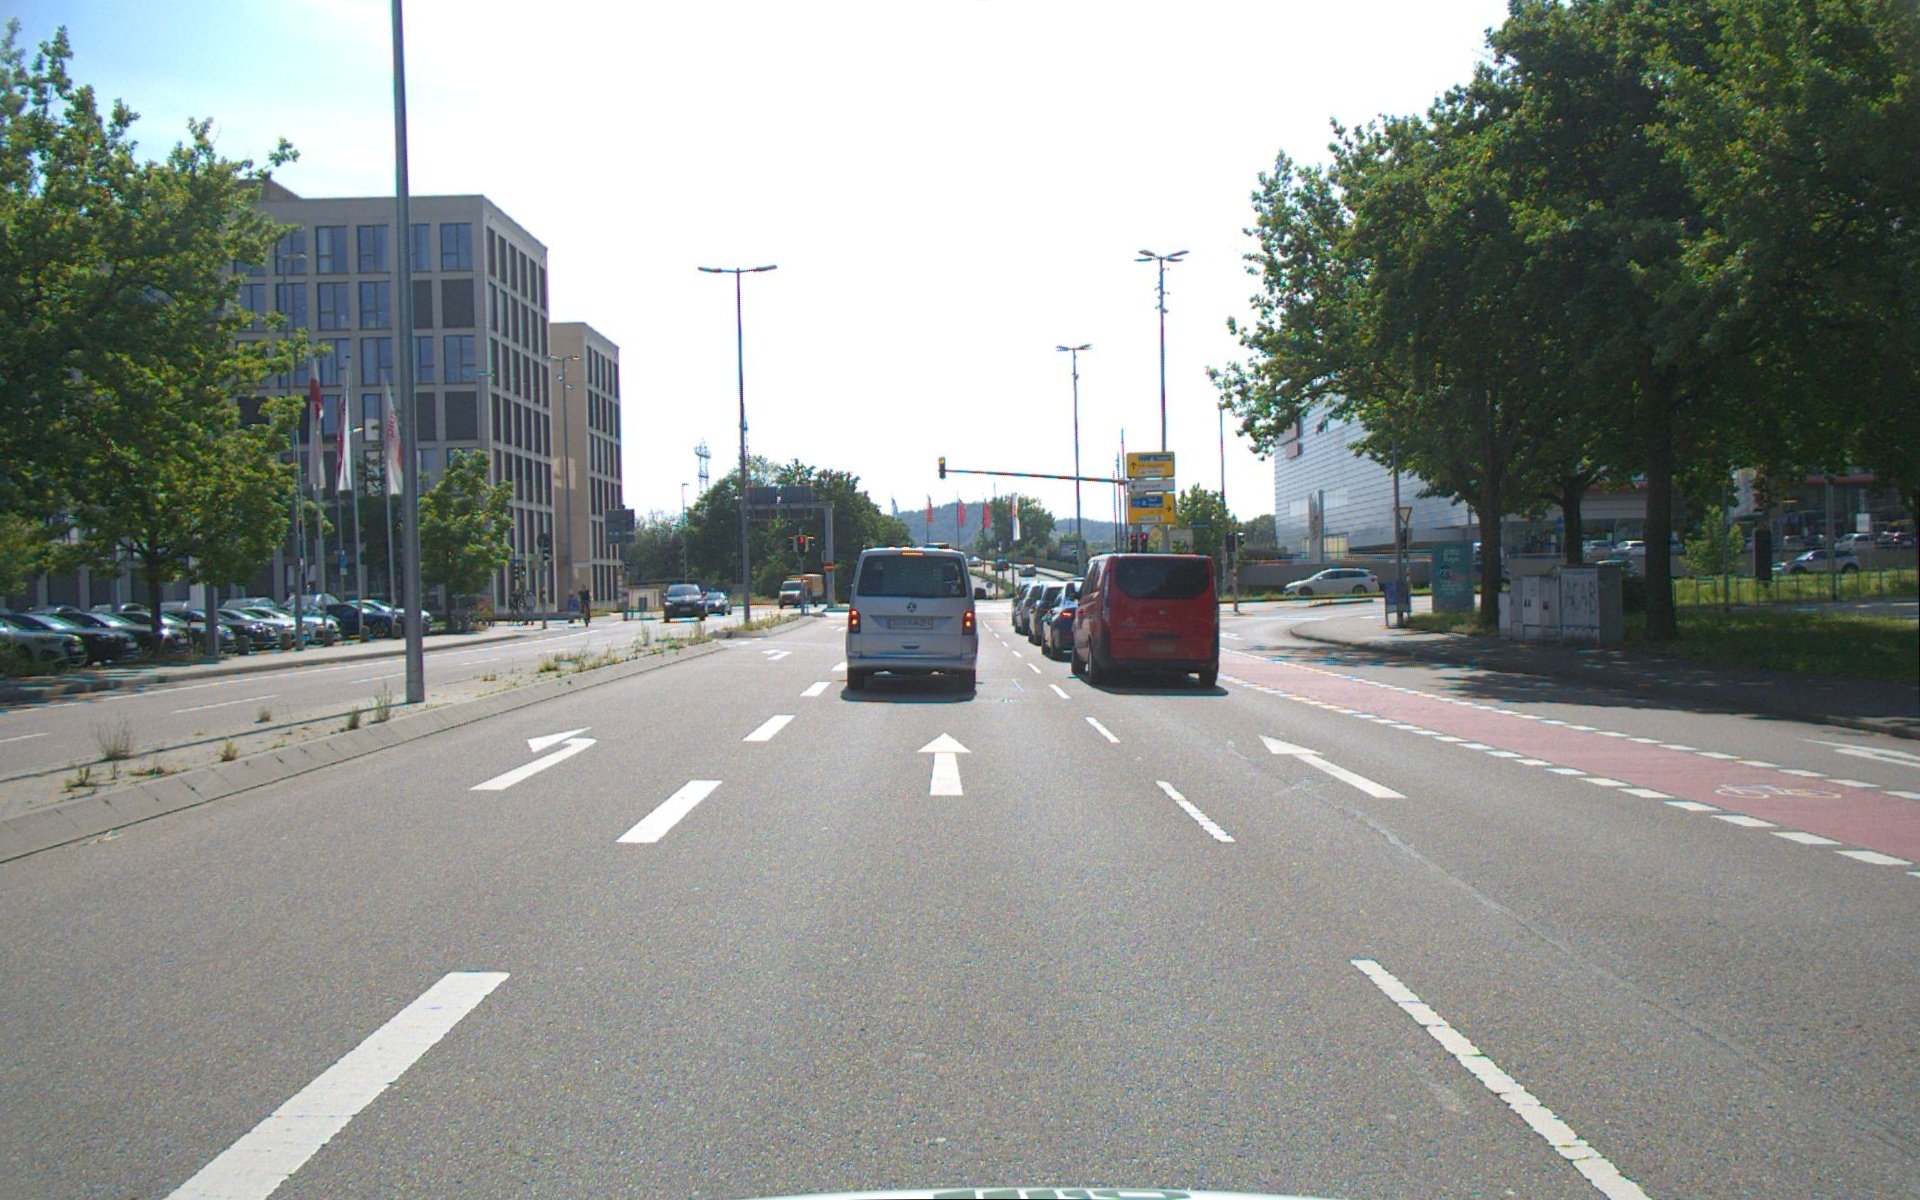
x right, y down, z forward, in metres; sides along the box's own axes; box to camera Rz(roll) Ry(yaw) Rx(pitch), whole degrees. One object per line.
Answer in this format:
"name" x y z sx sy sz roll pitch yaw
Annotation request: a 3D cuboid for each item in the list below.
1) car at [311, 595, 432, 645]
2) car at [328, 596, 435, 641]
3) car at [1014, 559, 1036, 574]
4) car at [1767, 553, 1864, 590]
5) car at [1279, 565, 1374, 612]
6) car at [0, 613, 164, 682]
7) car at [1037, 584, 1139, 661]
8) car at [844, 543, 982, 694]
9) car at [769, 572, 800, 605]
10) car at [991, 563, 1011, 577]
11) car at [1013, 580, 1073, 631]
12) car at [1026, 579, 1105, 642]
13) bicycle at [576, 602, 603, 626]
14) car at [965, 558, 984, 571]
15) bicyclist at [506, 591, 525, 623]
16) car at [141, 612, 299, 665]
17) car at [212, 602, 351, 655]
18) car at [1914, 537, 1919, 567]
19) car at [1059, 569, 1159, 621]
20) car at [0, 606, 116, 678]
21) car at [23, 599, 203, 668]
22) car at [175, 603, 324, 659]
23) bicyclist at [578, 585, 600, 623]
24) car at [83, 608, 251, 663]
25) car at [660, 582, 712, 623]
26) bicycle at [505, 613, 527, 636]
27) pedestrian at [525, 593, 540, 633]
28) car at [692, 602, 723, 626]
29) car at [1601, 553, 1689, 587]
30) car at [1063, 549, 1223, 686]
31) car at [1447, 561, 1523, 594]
"car" -22.280 0.751 62.729 3.795 1.490 1.868 -5 1 1
"car" -22.560 0.706 64.570 3.521 1.381 1.640 -5 1 0
"car" 9.007 -4.588 229.626 1.961 2.049 3.983 0 1 -16
"car" 43.079 -1.441 83.347 4.046 1.545 1.482 -4 0 4
"car" 18.178 -0.583 82.159 4.310 2.029 1.482 -4 0 4
"car" -22.322 1.205 41.030 4.081 1.354 2.038 -5 1 2
"car" 2.595 0.423 34.451 1.711 1.484 4.475 0 1 -1
"car" -0.663 0.227 24.259 1.846 2.025 3.999 0 1 -1
"car" -14.516 -0.939 137.011 2.358 2.605 6.888 -2 1 -5
"car" 6.056 -4.472 245.606 1.961 2.049 3.983 0 1 -16
"car" 2.485 0.136 50.039 1.546 1.483 3.785 0 1 -1
"car" 2.694 0.232 42.921 1.711 1.543 4.077 0 1 -1
"bicycle" -15.808 0.607 70.515 0.666 0.957 1.973 -2 1 0
"car" 2.266 -5.503 257.916 1.961 2.049 3.983 0 1 -16
"bicyclist" -21.409 0.351 79.627 0.617 1.527 1.028 0 0 -1
"car" -22.193 1.142 49.672 3.794 1.186 1.912 -5 1 2
"car" -22.497 0.933 54.918 3.794 1.388 1.749 -5 1 2
"car" 50.691 -2.578 83.809 3.694 1.545 1.482 -4 0 4
"car" 6.721 -0.241 74.859 4.311 2.029 1.481 -4 0 1
"car" -22.020 1.058 38.358 3.794 1.444 1.912 -5 1 2
"car" -22.320 0.872 43.683 3.794 1.444 1.660 -5 1 2
"car" -22.390 0.965 52.197 3.794 1.356 1.849 -5 1 2
"bicyclist" -15.801 0.169 70.441 0.606 1.553 1.036 -2 0 0
"car" -22.382 0.989 46.767 3.794 1.172 1.796 -5 1 2
"car" -12.125 0.090 73.372 1.704 1.646 4.207 -4 1 -3
"bicycle" -21.374 1.164 79.693 0.573 1.069 1.876 0 1 -1
"pedestrian" -21.553 0.652 83.366 0.547 2.049 0.576 0 0 4
"car" -16.394 0.880 107.405 1.545 1.434 4.377 -2 1 -3
"car" 36.723 -1.595 88.714 4.046 1.545 1.482 -4 0 4
"car" 2.843 0.230 26.789 1.927 2.002 5.124 0 1 -1
"car" 26.893 -1.139 84.736 3.397 1.455 1.482 -4 0 4
